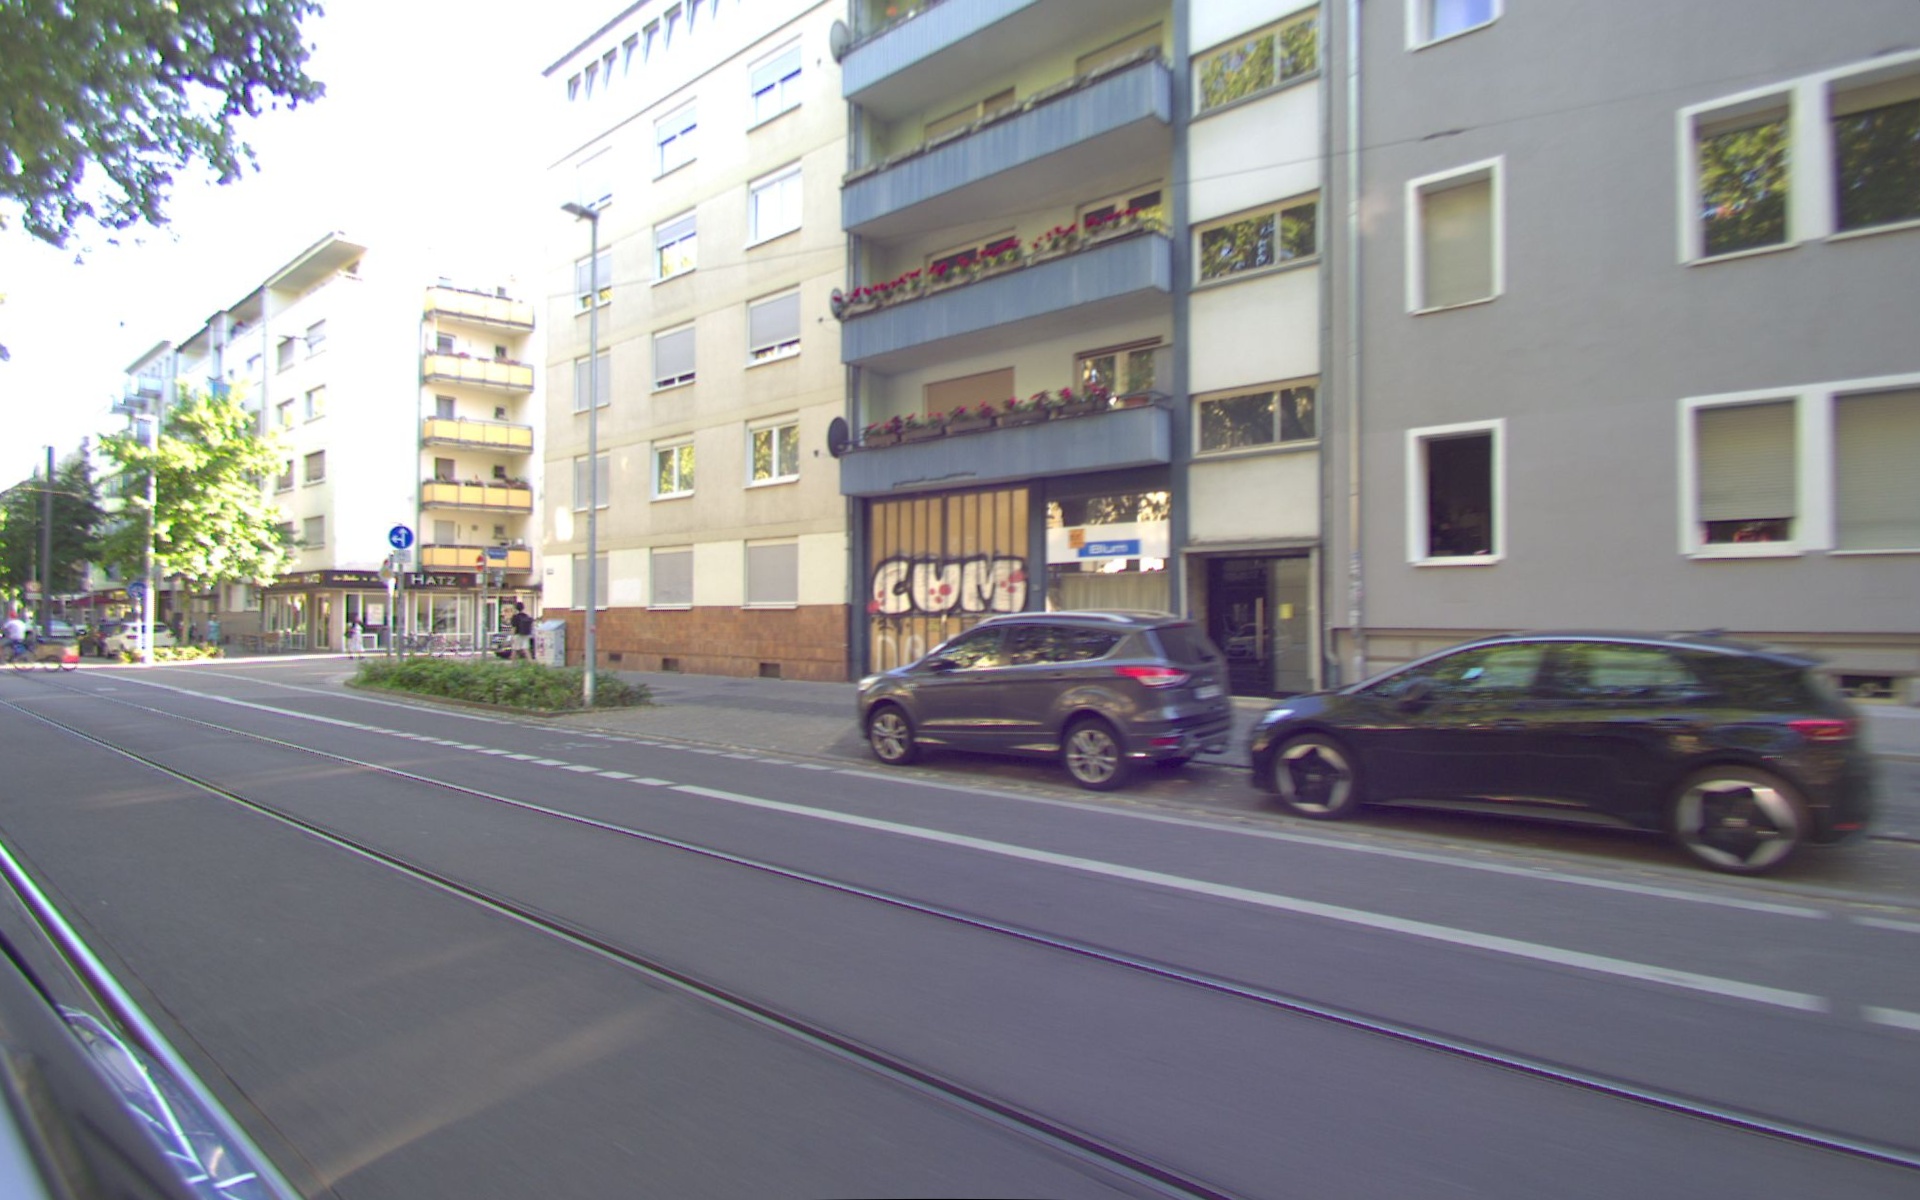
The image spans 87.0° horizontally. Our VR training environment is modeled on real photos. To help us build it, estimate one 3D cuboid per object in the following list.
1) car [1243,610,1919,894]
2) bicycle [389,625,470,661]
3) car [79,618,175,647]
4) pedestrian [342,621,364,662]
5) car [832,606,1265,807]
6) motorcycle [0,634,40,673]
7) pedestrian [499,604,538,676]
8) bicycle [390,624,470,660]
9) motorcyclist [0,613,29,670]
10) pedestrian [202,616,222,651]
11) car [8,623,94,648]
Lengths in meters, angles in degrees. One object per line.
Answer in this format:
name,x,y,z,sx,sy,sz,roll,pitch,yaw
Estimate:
car,4.516,0.916,7.797,4.199,1.612,1.639,-1,0,40
bicycle,-20.534,1.644,39.229,2.762,1.323,0.540,0,-1,-30
car,-45.428,1.749,55.230,1.587,1.535,3.899,-1,-2,44
pedestrian,-22.410,1.524,37.379,0.587,1.516,0.656,0,-1,-41
car,0.814,0.977,11.037,4.484,1.752,1.762,-1,0,39
motorcycle,-28.188,1.568,29.646,1.803,1.127,0.591,0,-2,-7
pedestrian,-12.068,1.081,27.648,0.762,1.913,0.800,0,-1,-41
bicycle,-20.810,1.620,39.799,2.762,1.323,0.540,0,-1,-30
motorcyclist,-27.982,1.213,29.685,0.744,1.630,0.590,0,-2,-7
pedestrian,-33.729,1.507,45.640,0.655,1.516,0.588,-1,-1,41
car,-56.711,2.179,63.189,1.587,1.535,3.899,-1,-2,44
